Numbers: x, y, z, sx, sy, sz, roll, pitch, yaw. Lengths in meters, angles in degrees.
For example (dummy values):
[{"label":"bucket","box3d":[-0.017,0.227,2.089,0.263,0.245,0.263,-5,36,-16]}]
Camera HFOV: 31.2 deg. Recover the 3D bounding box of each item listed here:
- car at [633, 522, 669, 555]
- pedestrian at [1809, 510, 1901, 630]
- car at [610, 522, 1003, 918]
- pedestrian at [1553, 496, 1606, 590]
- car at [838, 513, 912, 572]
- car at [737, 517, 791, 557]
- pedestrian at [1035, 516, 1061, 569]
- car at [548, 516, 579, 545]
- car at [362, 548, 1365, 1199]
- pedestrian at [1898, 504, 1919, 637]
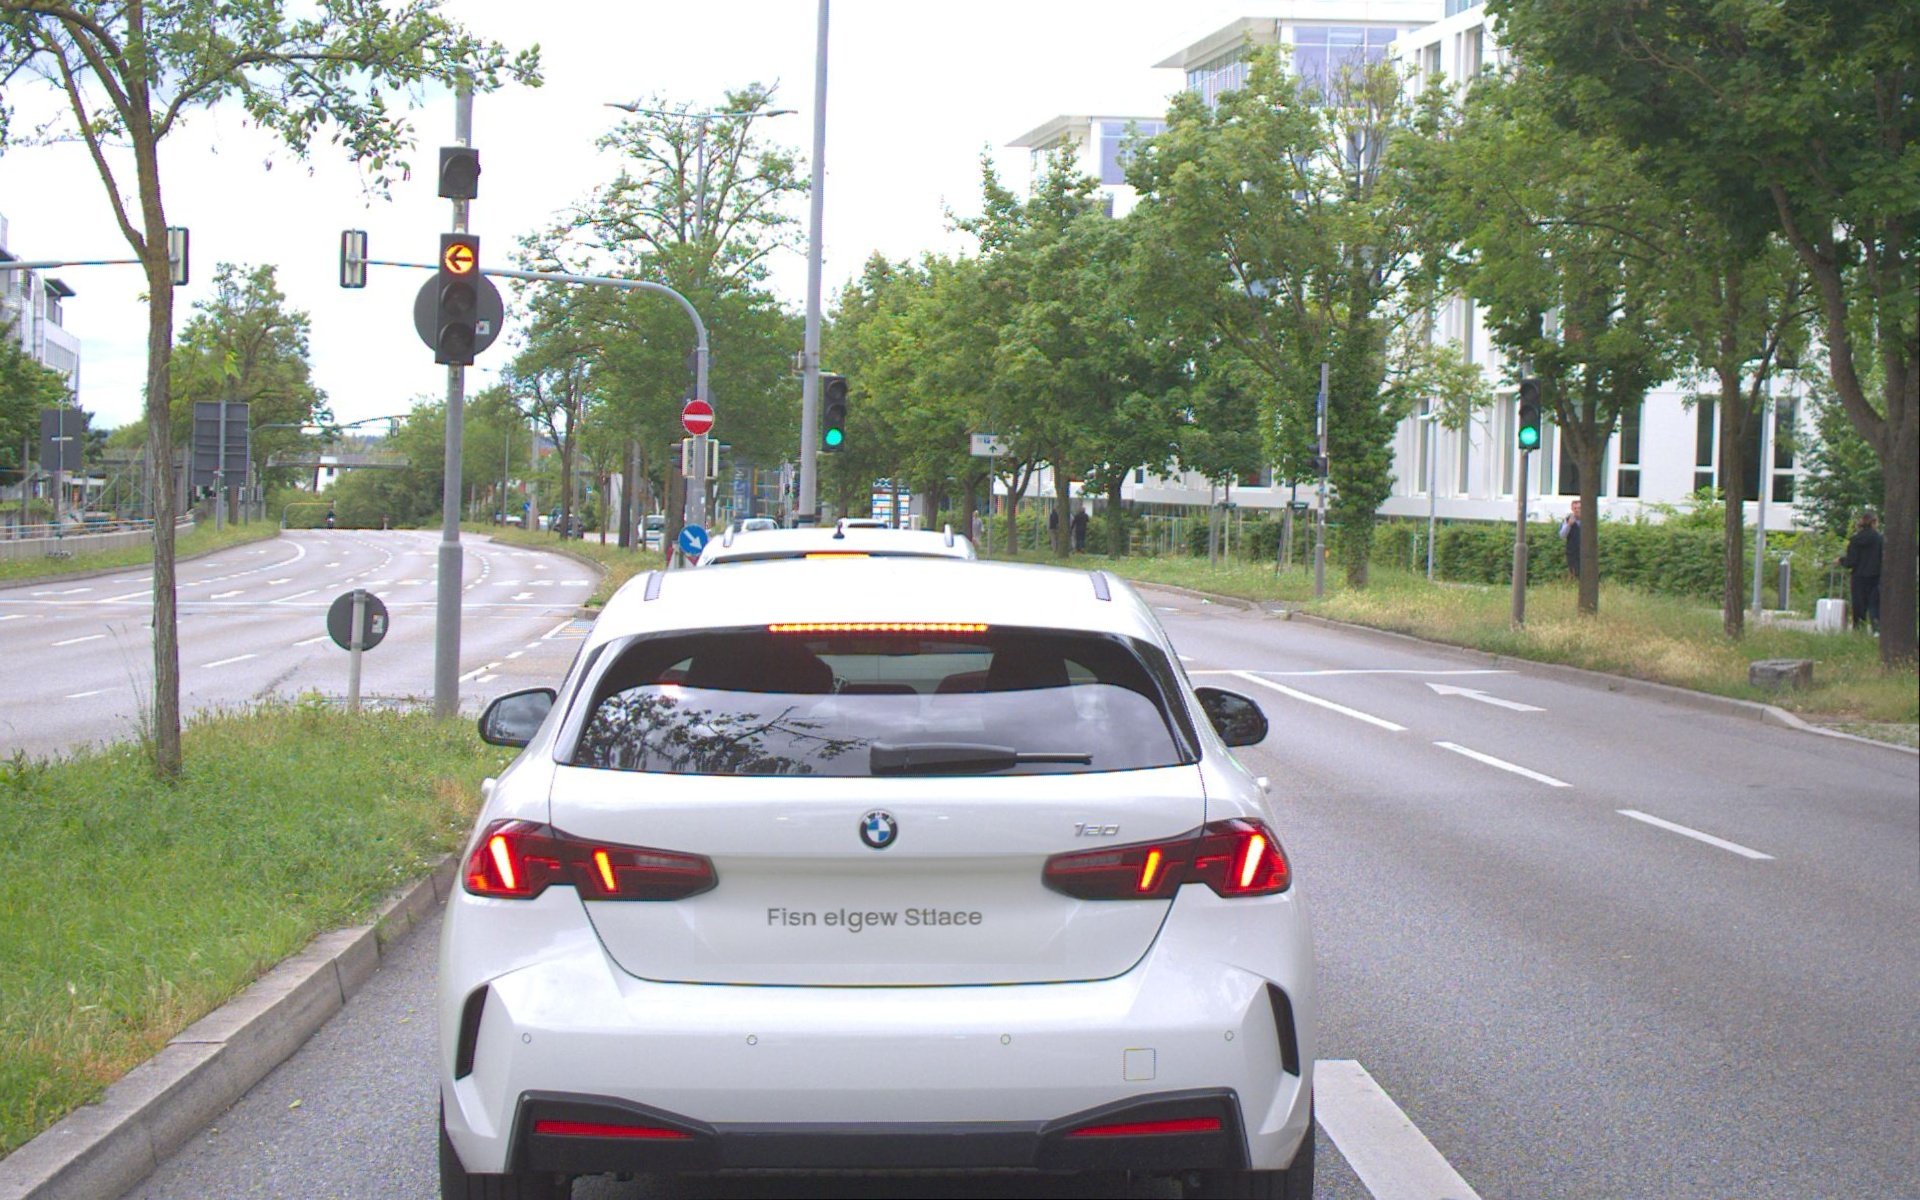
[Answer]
[{"label":"car","box3d":[-16.164,-3.230,179.917,1.738,1.661,4.001,1,1,-4]},{"label":"pedestrian","box3d":[10.942,-0.370,42.077,0.789,1.443,1.112,1,0,-1]},{"label":"car","box3d":[-0.640,0.448,15.853,1.549,1.563,4.000,1,1,-1]},{"label":"pedestrian","box3d":[10.460,-0.961,58.045,0.741,1.568,0.674,1,0,-1]},{"label":"car","box3d":[-2.485,-1.673,99.694,1.993,1.664,4.001,0,1,-4]},{"label":"car","box3d":[-7.608,-2.448,133.342,1.692,1.481,3.694,1,1,-9]},{"label":"pedestrian","box3d":[3.369,-2.192,131.550,0.762,2.007,0.754,1,1,-15]},{"label":"car","box3d":[-23.125,-4.042,200.568,1.601,1.661,4.001,1,1,-4]},{"label":"car","box3d":[-0.203,0.618,8.335,1.822,1.433,4.000,1,1,-1]},{"label":"pedestrian","box3d":[11.848,-0.353,41.639,0.699,1.590,0.883,1,0,-1]}]
